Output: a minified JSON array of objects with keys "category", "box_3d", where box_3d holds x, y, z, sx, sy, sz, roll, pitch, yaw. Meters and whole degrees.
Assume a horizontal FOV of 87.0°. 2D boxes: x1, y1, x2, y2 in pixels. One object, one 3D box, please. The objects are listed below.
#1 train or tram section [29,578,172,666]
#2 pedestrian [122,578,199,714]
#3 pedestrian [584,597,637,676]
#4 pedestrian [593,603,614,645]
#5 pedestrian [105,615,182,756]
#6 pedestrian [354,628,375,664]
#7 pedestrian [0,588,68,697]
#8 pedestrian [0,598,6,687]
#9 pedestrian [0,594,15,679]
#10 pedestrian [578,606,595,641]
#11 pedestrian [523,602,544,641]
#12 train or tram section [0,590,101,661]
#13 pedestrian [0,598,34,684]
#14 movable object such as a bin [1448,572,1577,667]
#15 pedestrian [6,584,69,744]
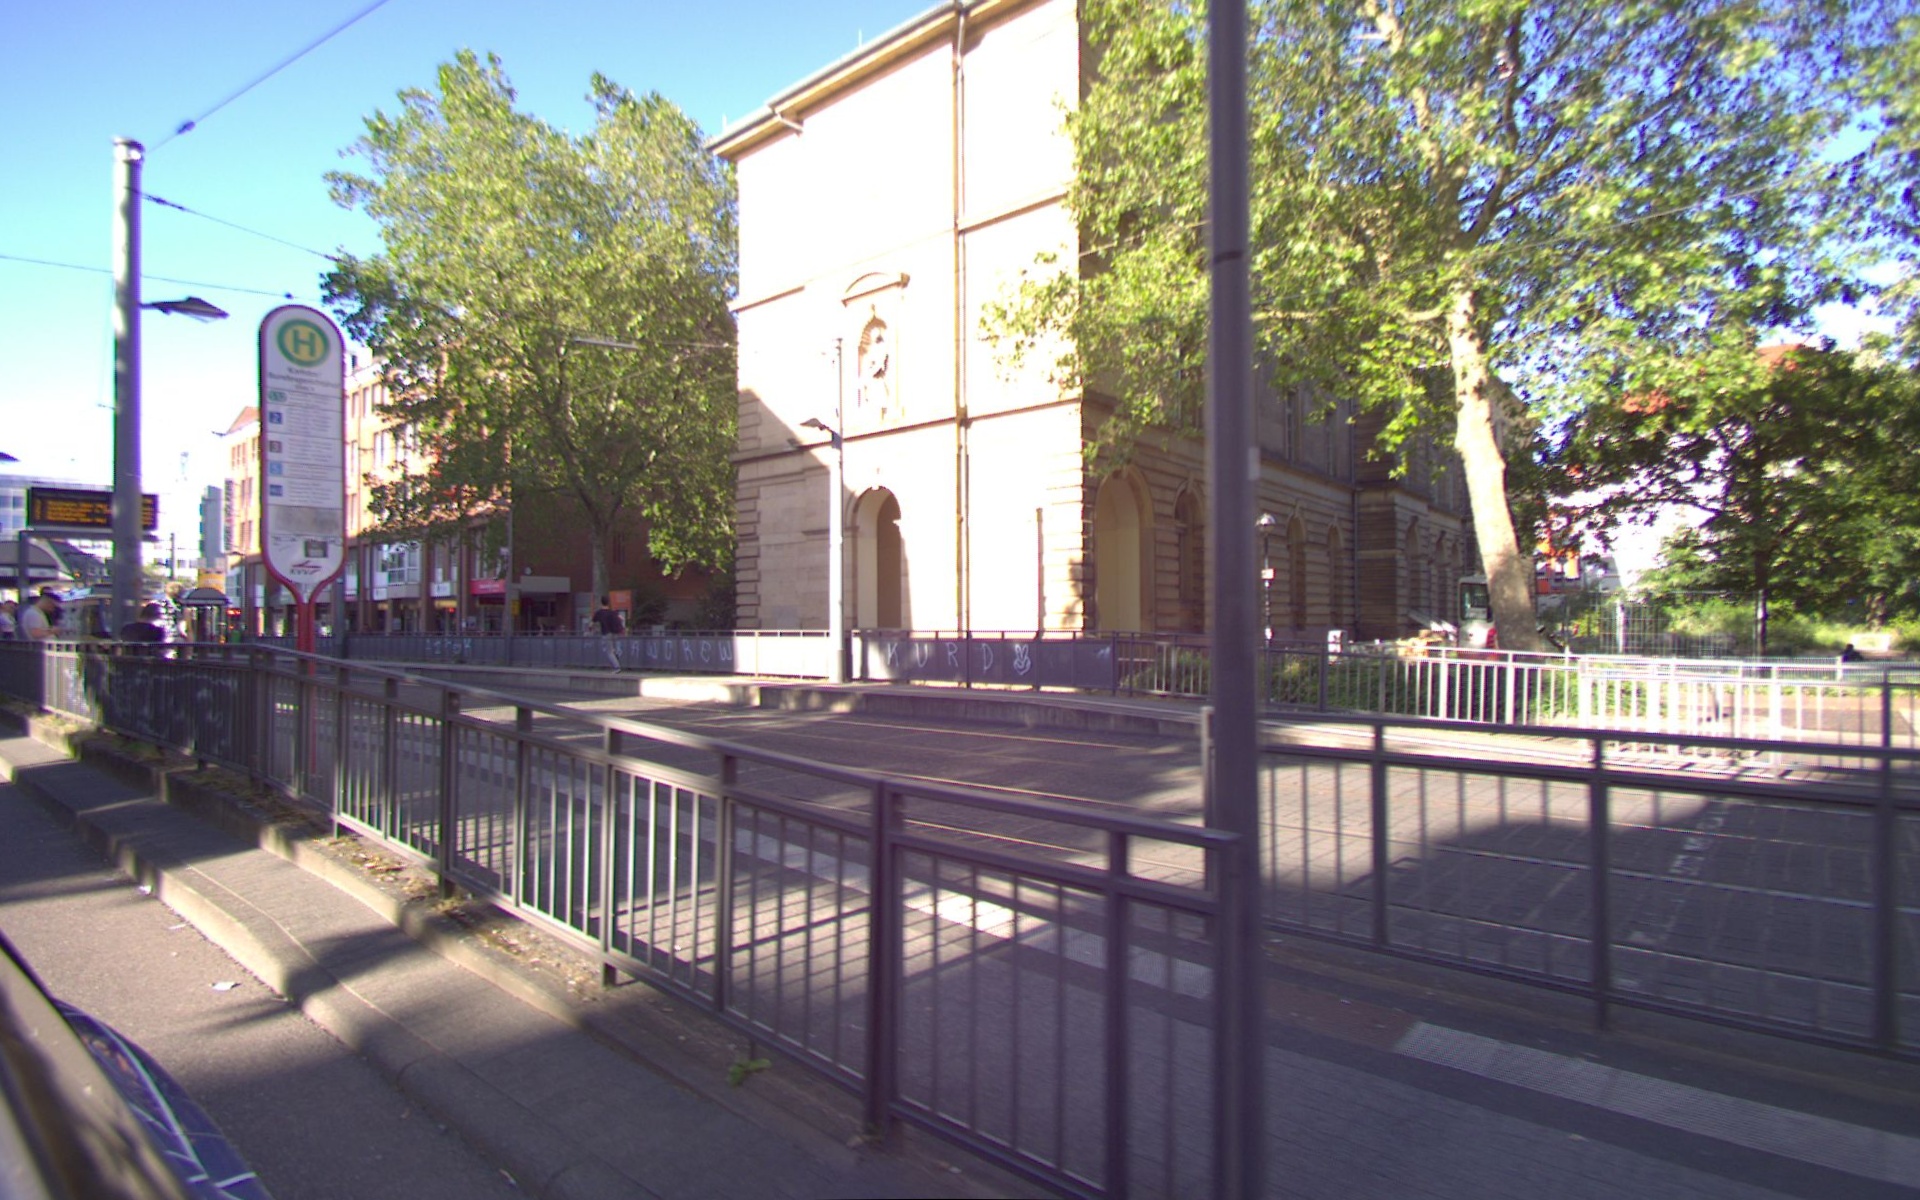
[{"category":"train or tram section","box_3d":[-41.731,1.157,48.775,16.478,3.672,2.943,-3,-1,42]},{"category":"pedestrian","box_3d":[-10.645,0.601,13.471,0.754,1.748,0.590,1,-2,-43]},{"category":"pedestrian","box_3d":[-7.607,0.783,22.037,1.033,1.680,0.688,-2,-2,42]},{"category":"pedestrian","box_3d":[-16.130,1.089,45.797,0.698,1.896,0.626,1,-2,-45]},{"category":"pedestrian","box_3d":[-7.965,0.817,9.883,0.473,1.339,0.355,0,-2,-19]},{"category":"pedestrian","box_3d":[-32.209,2.470,54.712,0.665,1.930,0.781,-2,-2,40]},{"category":"pedestrian","box_3d":[-16.301,0.722,17.790,0.803,1.845,0.763,-1,0,37]},{"category":"pedestrian","box_3d":[-18.411,0.801,19.235,0.528,1.682,0.348,-2,-2,40]},{"category":"pedestrian","box_3d":[-19.141,0.728,20.093,0.589,1.661,0.488,-2,-2,40]},{"category":"pedestrian","box_3d":[-16.714,1.066,45.297,0.474,1.541,0.577,-2,-2,42]},{"category":"pedestrian","box_3d":[-20.054,0.992,47.592,0.648,1.819,0.680,-2,-1,40]},{"category":"train or tram section","box_3d":[-53.137,1.501,58.849,13.938,3.672,2.943,-2,0,42]},{"category":"pedestrian","box_3d":[-19.910,0.847,21.172,0.747,1.765,0.682,-2,-2,40]},{"category":"movable object such as a bin","box_3d":[12.379,0.435,22.674,2.604,2.029,1.179,0,-2,-25]},{"category":"pedestrian","box_3d":[-12.712,0.862,13.948,0.807,2.136,0.532,-2,-2,41]}]
